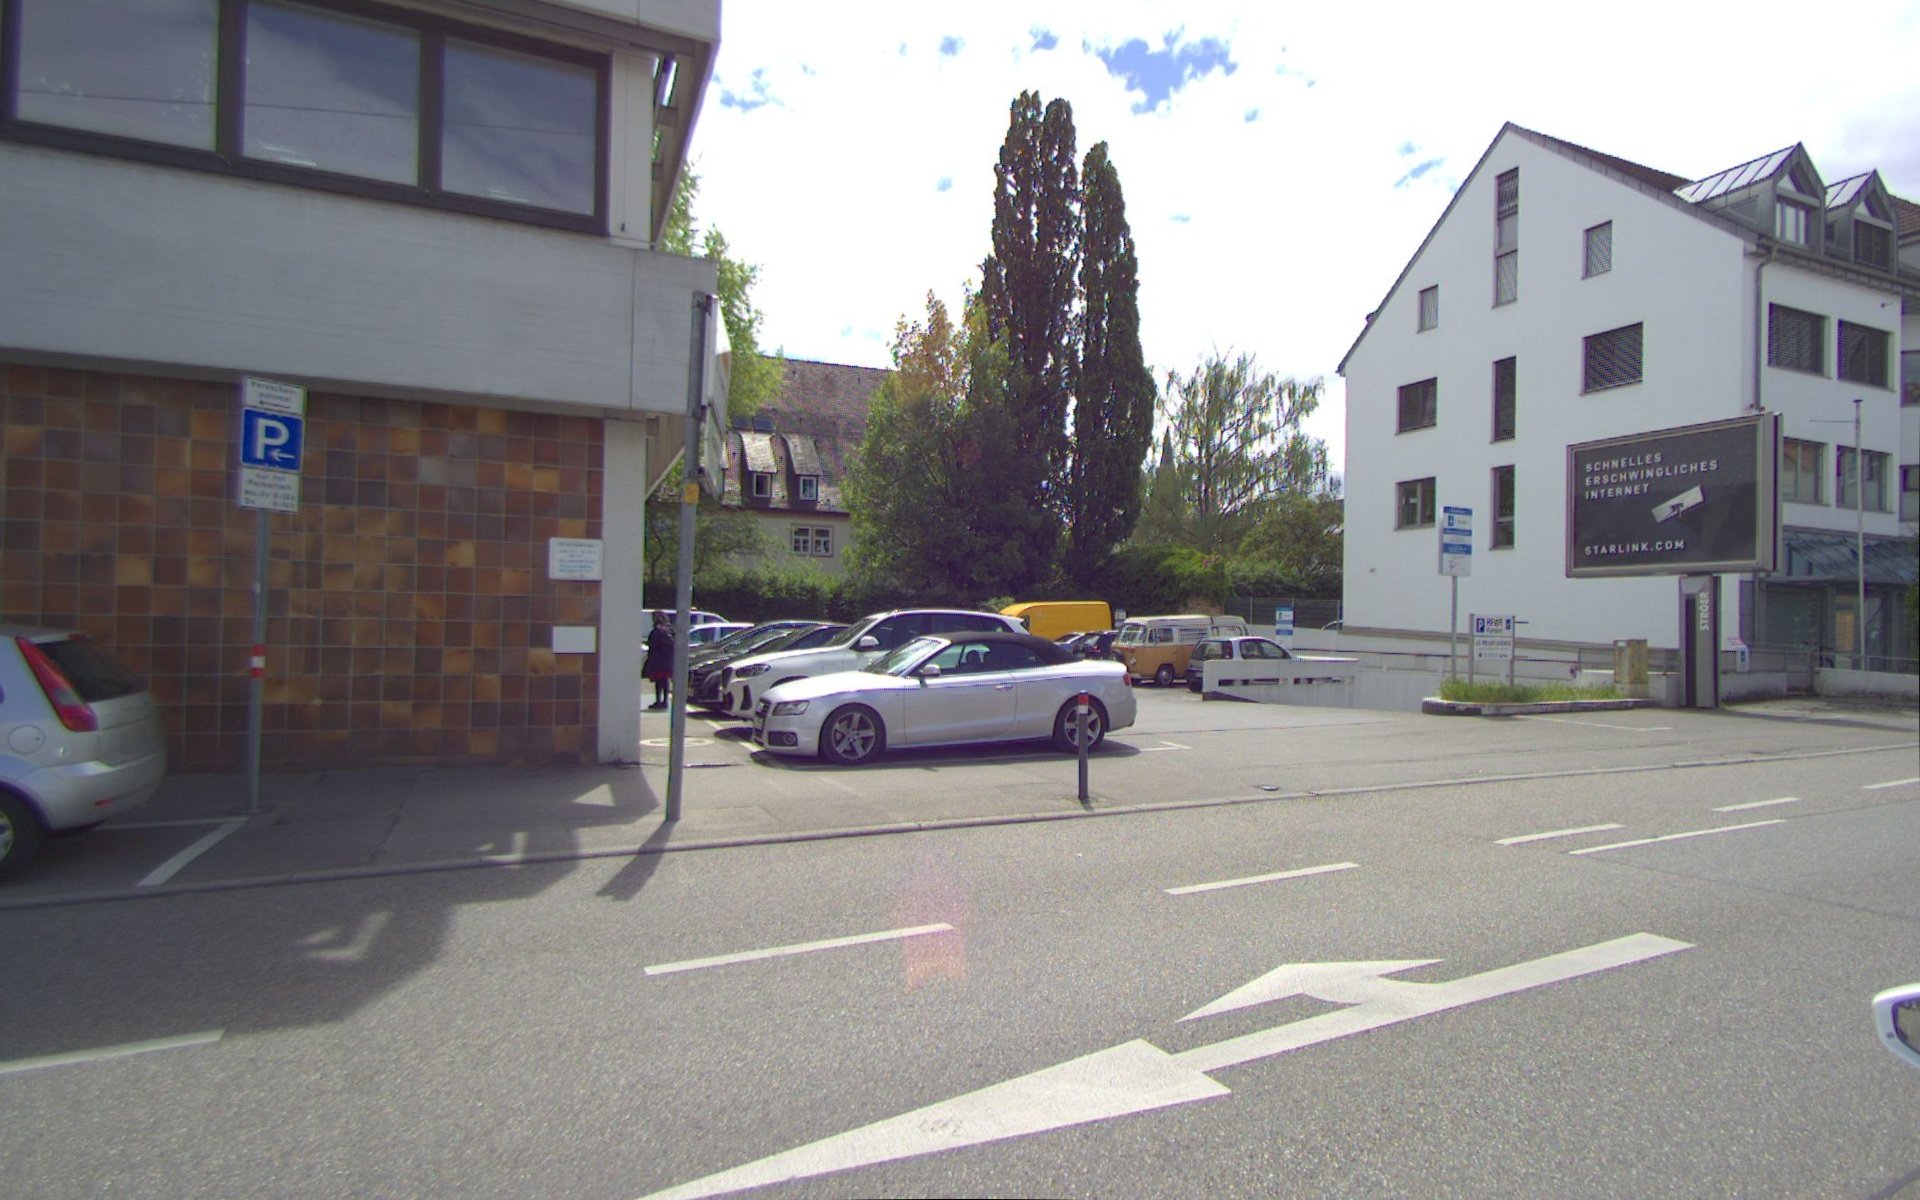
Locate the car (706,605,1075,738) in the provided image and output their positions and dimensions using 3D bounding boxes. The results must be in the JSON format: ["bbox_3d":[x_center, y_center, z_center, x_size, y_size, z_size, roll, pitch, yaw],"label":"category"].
[{"bbox_3d":[-0.993,0.966,14.223,4.856,1.640,1.948,0,-4,-22],"label":"car"}]

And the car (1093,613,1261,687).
[{"bbox_3d":[6.307,1.409,29.110,4.584,2.016,1.833,1,-1,-25],"label":"car"}]

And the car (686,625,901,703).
[{"bbox_3d":[-3.712,1.350,22.451,4.434,1.599,1.917,1,-1,-25],"label":"car"}]

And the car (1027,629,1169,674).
[{"bbox_3d":[4.626,1.721,33.725,4.443,1.457,1.808,1,-3,-23],"label":"car"}]

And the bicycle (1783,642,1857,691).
[{"bbox_3d":[20.580,1.576,24.022,1.976,1.109,0.628,1,-1,-27],"label":"bicycle"}]

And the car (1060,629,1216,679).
[{"bbox_3d":[5.598,1.670,31.554,4.615,1.457,1.808,1,-1,-23],"label":"car"}]

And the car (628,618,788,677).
[{"bbox_3d":[-6.783,1.264,26.977,3.942,1.480,1.842,1,-2,-23],"label":"car"}]

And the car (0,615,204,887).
[{"bbox_3d":[-6.886,0.806,5.515,4.094,1.441,1.716,1,0,-27],"label":"car"}]

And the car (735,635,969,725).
[{"bbox_3d":[-1.826,1.285,16.972,3.556,1.348,1.757,1,-2,-26],"label":"car"}]

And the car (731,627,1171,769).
[{"bbox_3d":[-0.083,1.031,11.748,4.788,1.376,1.946,1,-1,-24],"label":"car"}]

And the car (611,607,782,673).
[{"bbox_3d":[-8.304,1.255,31.634,5.014,1.967,1.964,1,-1,-22],"label":"car"}]

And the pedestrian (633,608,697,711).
[{"bbox_3d":[-5.015,1.001,17.069,0.981,1.693,0.716,1,-3,-22],"label":"pedestrian"}]

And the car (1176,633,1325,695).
[{"bbox_3d":[7.780,1.662,26.847,3.713,1.549,1.803,1,-1,-31],"label":"car"}]

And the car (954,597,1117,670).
[{"bbox_3d":[2.849,1.283,37.720,5.896,2.563,2.056,1,-3,-25],"label":"car"}]
